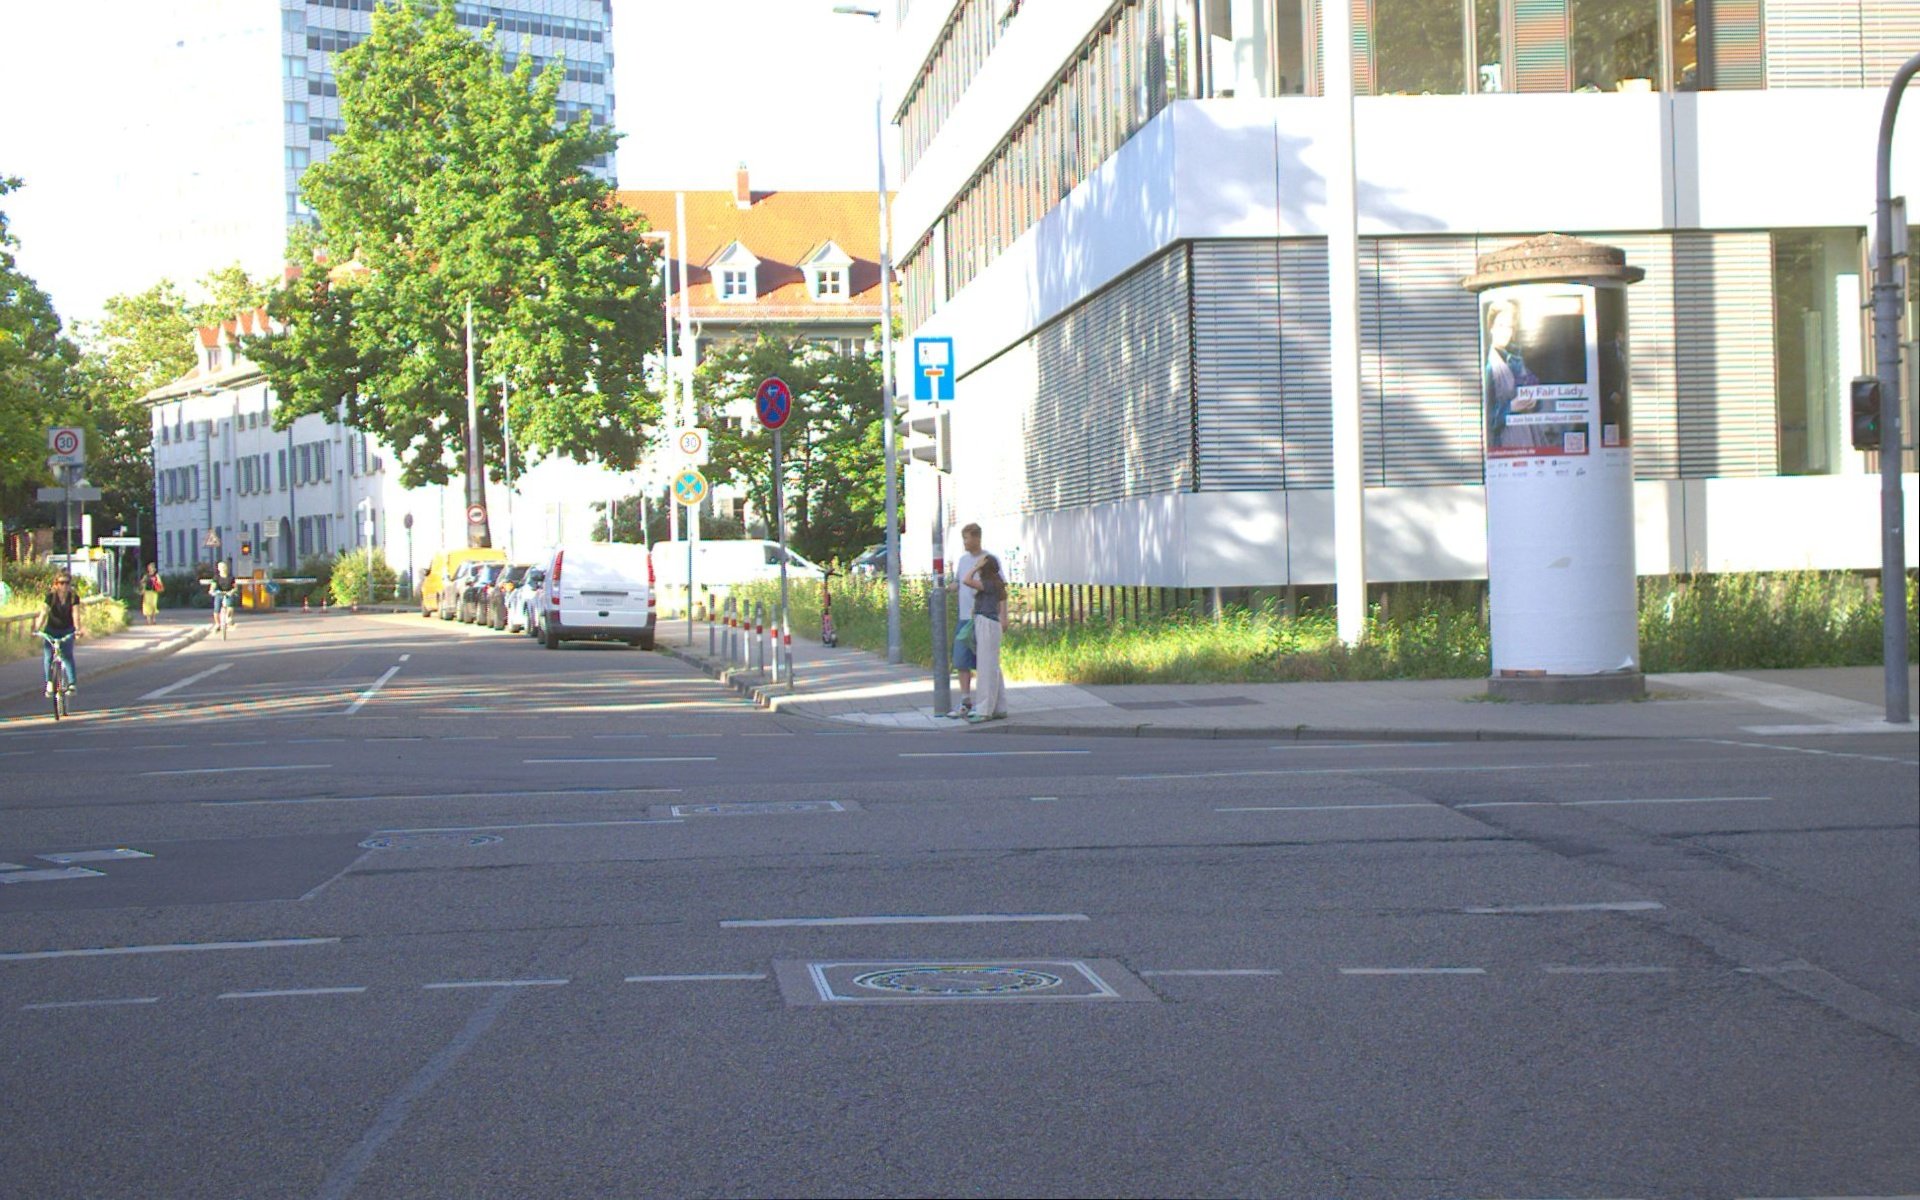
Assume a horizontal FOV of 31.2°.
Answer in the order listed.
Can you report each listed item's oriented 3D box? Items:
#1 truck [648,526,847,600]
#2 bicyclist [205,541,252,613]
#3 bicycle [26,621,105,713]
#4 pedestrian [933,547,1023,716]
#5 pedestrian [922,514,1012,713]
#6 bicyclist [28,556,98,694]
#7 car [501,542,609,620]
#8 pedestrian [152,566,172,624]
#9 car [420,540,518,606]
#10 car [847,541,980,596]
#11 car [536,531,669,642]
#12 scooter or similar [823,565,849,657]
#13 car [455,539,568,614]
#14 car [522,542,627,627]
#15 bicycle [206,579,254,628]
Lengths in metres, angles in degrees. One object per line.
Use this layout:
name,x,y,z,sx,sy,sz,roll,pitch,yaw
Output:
truck,-6.097,-1.073,98.473,5.336,2.007,2.001,-1,1,-17
bicyclist,-15.922,-0.501,74.874,0.865,1.510,1.019,-4,1,-10
bicycle,-10.172,0.746,39.141,0.615,0.966,1.842,-2,1,-7
pedestrian,0.170,0.288,32.421,0.559,1.535,0.677,-5,2,-17
pedestrian,0.070,0.122,33.029,0.560,1.844,0.677,-4,2,17
bicyclist,-10.160,0.272,38.957,0.615,1.527,0.903,-2,1,-7
car,-8.729,-0.434,73.797,1.888,1.550,4.416,-1,2,-12
pedestrian,-22.174,-0.132,95.525,0.433,1.602,0.493,-2,1,-21
car,-13.033,-0.743,91.107,1.888,1.650,4.416,-1,2,-17
car,-1.349,-0.910,99.529,3.554,1.541,1.559,-1,1,-17
car,-6.302,-0.273,60.195,2.084,1.789,4.416,-1,2,-9
scooter or similar,-1.943,0.170,53.855,0.330,1.419,1.335,0,0,-4
car,-10.612,-0.588,81.100,1.888,1.650,4.416,-1,2,-17
car,-7.703,-0.333,68.396,1.888,1.550,4.416,-1,2,-9
bicycle,-15.892,0.068,74.865,0.865,1.006,2.415,-4,1,-10
